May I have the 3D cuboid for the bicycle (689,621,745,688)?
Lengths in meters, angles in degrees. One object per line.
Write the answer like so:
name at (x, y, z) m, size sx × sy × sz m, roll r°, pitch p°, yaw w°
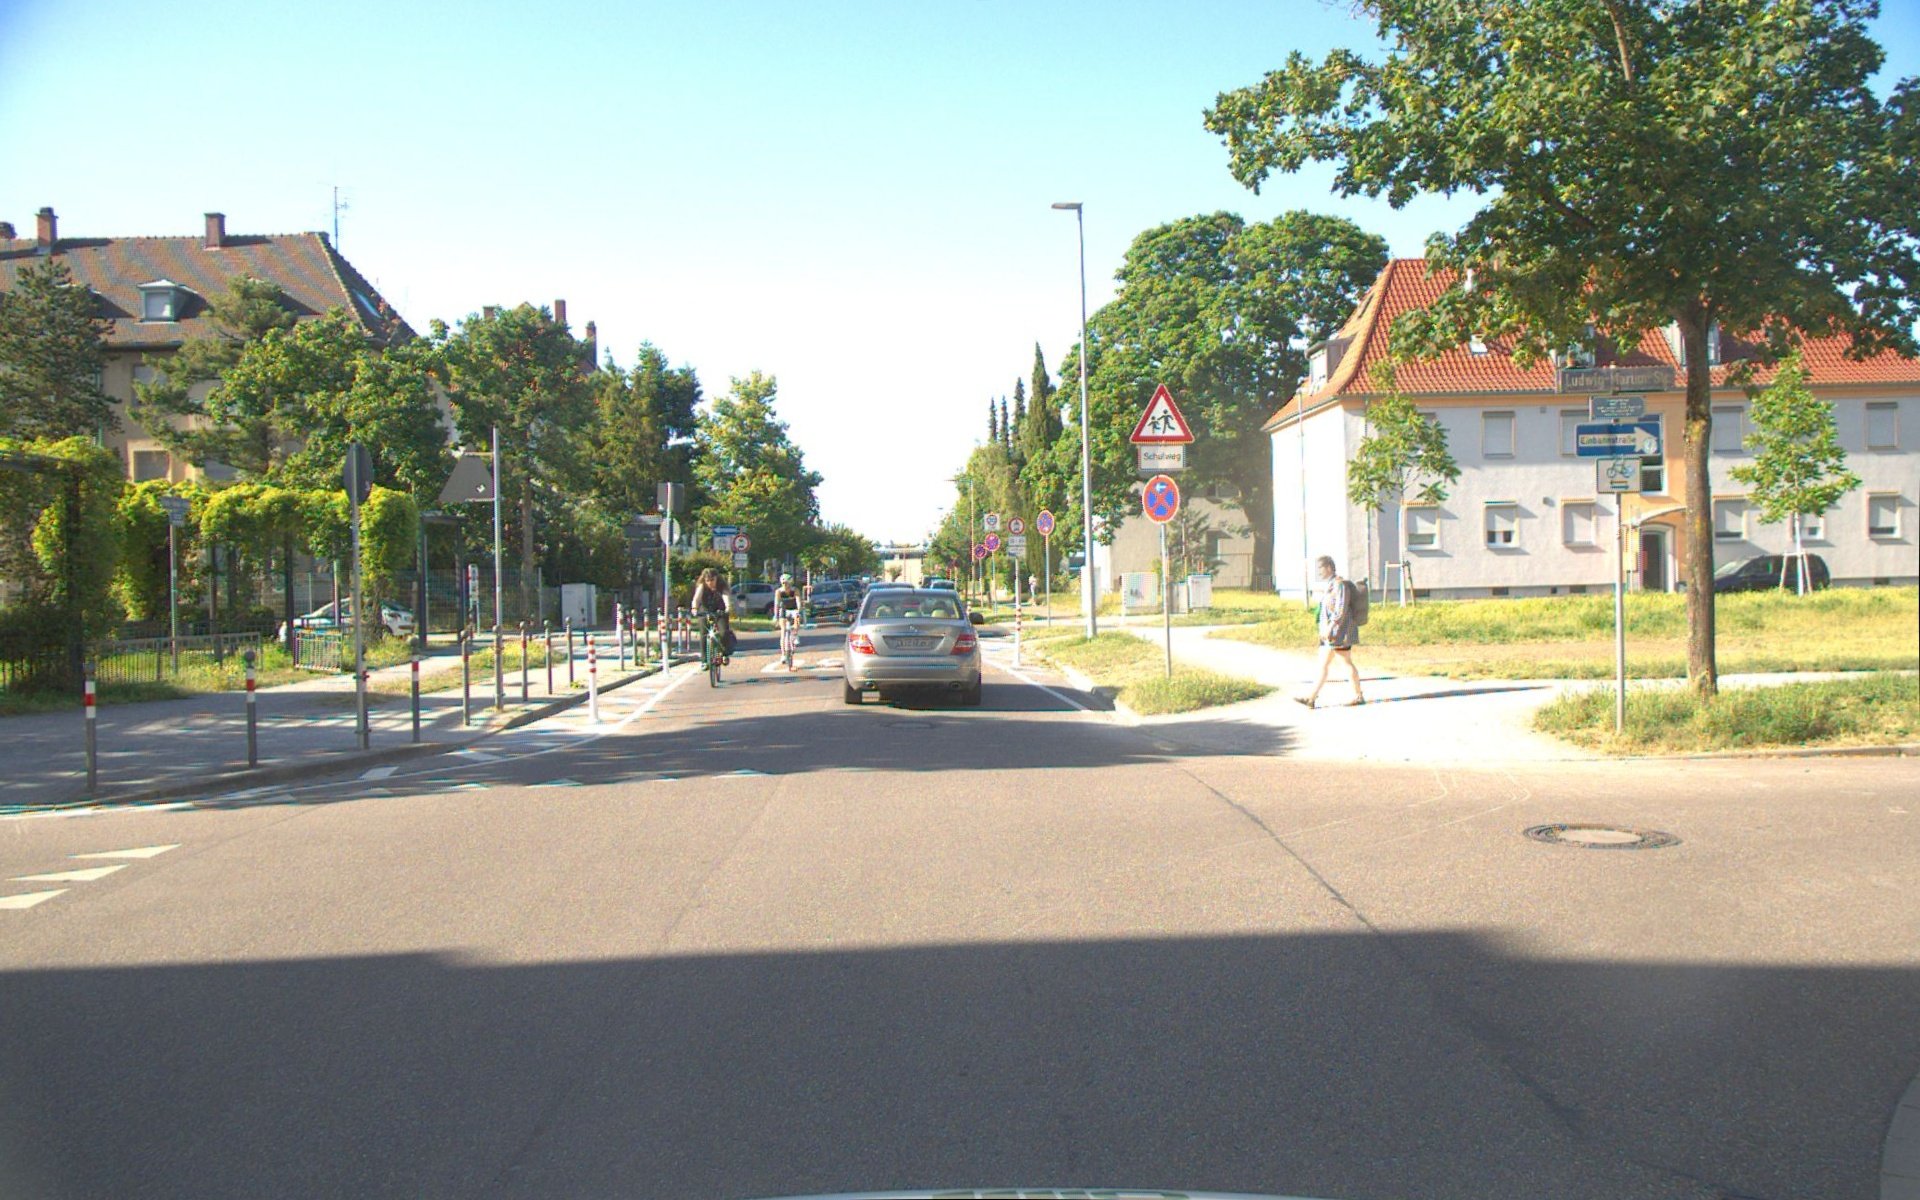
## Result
bicycle at (-3.750, 0.824, 25.644) m, size 0.577 × 0.948 × 1.850 m, roll -2°, pitch 1°, yaw -1°

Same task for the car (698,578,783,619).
car at (-9.143, -0.068, 68.948) m, size 3.429 × 1.560 × 1.642 m, roll -2°, pitch 1°, yaw -9°

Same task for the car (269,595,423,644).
car at (-18.421, 0.594, 49.759) m, size 3.909 × 1.400 × 1.998 m, roll 0°, pitch -1°, yaw -5°

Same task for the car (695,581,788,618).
car at (-9.505, -0.023, 72.301) m, size 3.908 × 1.550 × 1.755 m, roll 0°, pitch -1°, yaw -4°

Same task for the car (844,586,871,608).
car at (-7.518, -0.232, 120.708) m, size 1.753 × 1.559 × 3.995 m, roll -2°, pitch 1°, yaw -6°

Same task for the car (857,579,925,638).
car at (-1.808, 0.233, 43.387) m, size 1.672 × 1.473 × 4.200 m, roll 0°, pitch -1°, yaw -2°

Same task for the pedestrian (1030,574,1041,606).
pedestrian at (3.651, -0.484, 80.398) m, size 0.499 × 1.586 × 0.643 m, roll 0°, pitch -1°, yaw -1°

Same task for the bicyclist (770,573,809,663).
bicyclist at (-2.952, 0.305, 28.665) m, size 0.560 × 1.535 × 0.655 m, roll -2°, pitch 0°, yaw 0°

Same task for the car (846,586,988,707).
car at (-0.535, 0.580, 21.743) m, size 1.691 × 1.445 × 3.959 m, roll 0°, pitch -1°, yaw -1°

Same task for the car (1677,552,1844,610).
car at (24.547, -0.580, 50.831) m, size 4.200 × 1.628 × 1.899 m, roll -1°, pitch 1°, yaw 0°

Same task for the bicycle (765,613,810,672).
bicycle at (-2.974, 0.722, 28.682) m, size 0.577 × 0.948 × 1.850 m, roll -2°, pitch 1°, yaw -1°

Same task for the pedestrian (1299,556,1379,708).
pedestrian at (4.207, 0.347, 18.368) m, size 0.635 × 1.651 × 0.615 m, roll -2°, pitch 0°, yaw 36°

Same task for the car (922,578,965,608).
car at (-0.841, -0.342, 80.148) m, size 1.689 × 1.353 × 3.995 m, roll -2°, pitch 1°, yaw -6°

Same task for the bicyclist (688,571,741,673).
bicyclist at (-3.773, 0.334, 25.442) m, size 0.666 × 1.535 × 0.655 m, roll -2°, pitch 0°, yaw -1°

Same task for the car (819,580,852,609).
car at (-7.210, -0.338, 95.512) m, size 1.753 × 1.559 × 3.995 m, roll -2°, pitch 1°, yaw -6°

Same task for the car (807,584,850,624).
car at (-6.183, 0.161, 77.599) m, size 1.837 × 1.758 × 3.995 m, roll -2°, pitch 1°, yaw -6°
